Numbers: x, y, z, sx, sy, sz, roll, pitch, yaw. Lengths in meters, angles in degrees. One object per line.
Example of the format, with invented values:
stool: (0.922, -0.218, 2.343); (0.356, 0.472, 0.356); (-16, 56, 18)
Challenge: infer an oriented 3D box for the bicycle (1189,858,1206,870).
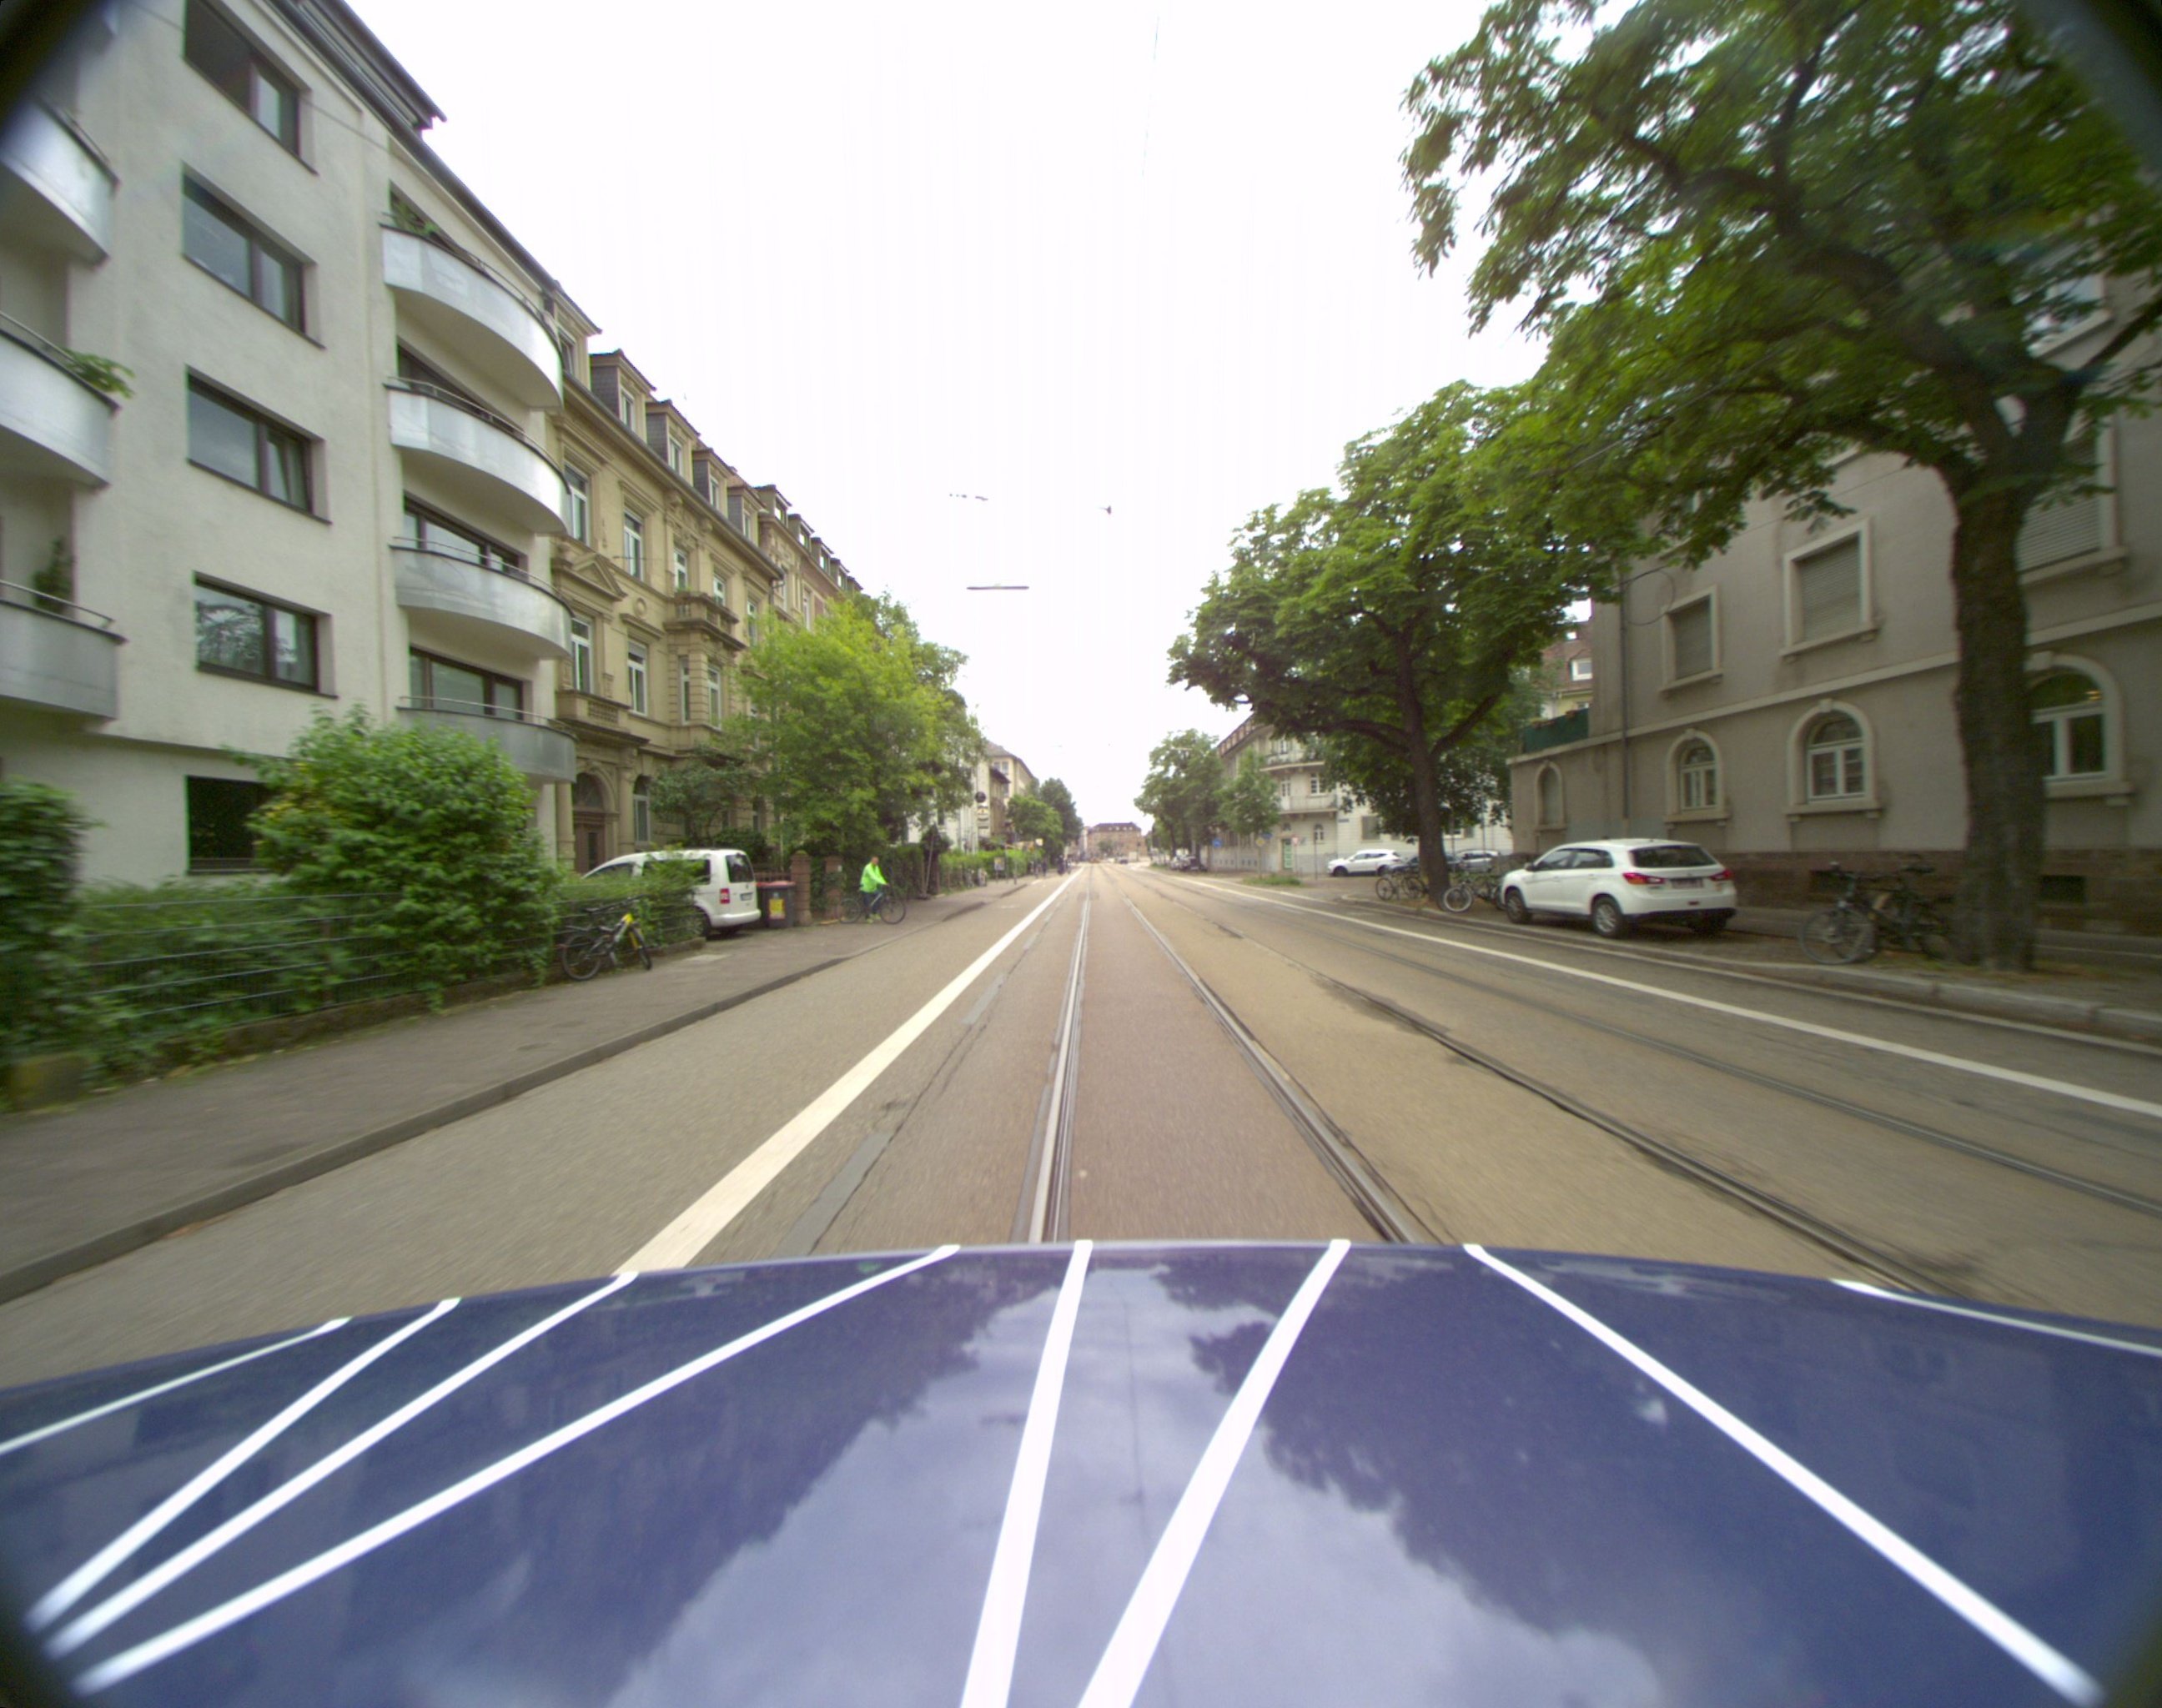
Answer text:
bicycle: (10.339, 0.879, 67.585); (1.379, 0.999, 0.930); (-5, 0, 5)

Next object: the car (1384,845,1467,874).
car: (19.382, 0.313, 42.740); (4.060, 1.402, 1.665); (-2, 0, 30)

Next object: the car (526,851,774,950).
car: (-8.657, 0.898, 15.518); (3.996, 1.847, 1.809); (-1, 0, 1)

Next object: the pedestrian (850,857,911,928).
pedestrian: (-5.129, 0.965, 19.518); (1.232, 1.722, 1.018); (2, 0, 0)

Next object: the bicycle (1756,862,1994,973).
bicycle: (9.167, 0.755, 8.863); (1.746, 1.184, 0.654); (-3, -5, 15)

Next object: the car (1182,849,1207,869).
car: (10.679, 0.450, 71.772); (1.842, 1.651, 4.294); (-4, 0, 2)

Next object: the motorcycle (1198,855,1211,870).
motorcycle: (10.486, 0.681, 64.512); (0.541, 1.250, 2.141); (-2, 0, -5)

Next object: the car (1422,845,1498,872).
car: (23.293, 0.272, 46.767); (4.038, 1.504, 1.741); (-2, 0, 28)

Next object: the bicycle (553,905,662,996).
bicycle: (-6.382, 1.264, 10.322); (0.480, 1.039, 1.531); (0, 0, 1)

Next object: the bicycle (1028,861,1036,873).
bicycle: (-4.714, 1.198, 72.610); (0.634, 1.121, 1.812); (0, -1, 1)

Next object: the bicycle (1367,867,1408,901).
bicycle: (9.123, 0.883, 22.661); (0.485, 0.952, 1.397); (-2, 0, -7)

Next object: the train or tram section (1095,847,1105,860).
train or tram section: (5.419, -0.149, 219.420); (2.631, 3.659, 5.985); (-2, 0, -1)

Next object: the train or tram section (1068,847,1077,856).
train or tram section: (-2.862, -0.763, 251.367); (2.609, 2.936, 4.965); (-2, 0, -1)

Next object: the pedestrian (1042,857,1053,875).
pedestrian: (-3.023, 1.106, 69.444); (0.875, 1.646, 0.908); (-2, 0, -7)

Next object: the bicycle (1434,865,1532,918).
bicycle: (9.481, 0.886, 17.959); (1.927, 1.114, 0.624); (-3, 0, 1)

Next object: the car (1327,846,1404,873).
car: (18.484, 0.351, 49.404); (4.505, 1.653, 1.942); (-2, 0, 26)

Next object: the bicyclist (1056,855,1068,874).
bicyclist: (-1.805, 1.031, 72.781); (0.881, 1.811, 1.479); (-2, -1, 6)

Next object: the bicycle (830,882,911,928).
bicycle: (-5.324, 1.285, 19.240); (1.845, 1.069, 0.606); (2, 0, 0)

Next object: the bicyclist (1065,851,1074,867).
bicyclist: (-1.226, 0.560, 79.994); (0.775, 1.681, 0.869); (-2, 0, 12)

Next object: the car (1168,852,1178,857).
car: (26.315, 0.100, 216.609); (1.757, 1.490, 4.006); (0, 0, 23)

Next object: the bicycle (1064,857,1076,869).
bicycle: (-1.130, 0.984, 80.081); (0.775, 1.205, 1.870); (-2, 0, 12)

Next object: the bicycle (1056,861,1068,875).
bicycle: (-1.833, 1.304, 72.638); (0.852, 1.234, 2.310); (-2, 0, 6)

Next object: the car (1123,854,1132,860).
car: (10.483, 0.644, 170.798); (1.733, 1.400, 3.655); (-2, 0, 1)

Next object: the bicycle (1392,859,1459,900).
bicycle: (10.132, 0.743, 22.421); (0.677, 1.129, 1.934); (-1, -1, -15)

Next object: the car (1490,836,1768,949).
car: (9.472, 0.592, 13.665); (1.902, 1.646, 4.225); (-2, 0, 0)

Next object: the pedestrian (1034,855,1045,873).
pedestrian: (-3.913, 0.917, 71.379); (0.794, 1.627, 0.837); (0, 2, 17)

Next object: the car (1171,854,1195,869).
car: (10.721, 0.815, 80.131); (1.816, 1.457, 4.614); (-3, 0, 0)

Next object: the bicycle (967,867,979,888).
bicycle: (-5.787, 1.246, 40.784); (0.302, 1.035, 1.848); (-2, 0, 1)
